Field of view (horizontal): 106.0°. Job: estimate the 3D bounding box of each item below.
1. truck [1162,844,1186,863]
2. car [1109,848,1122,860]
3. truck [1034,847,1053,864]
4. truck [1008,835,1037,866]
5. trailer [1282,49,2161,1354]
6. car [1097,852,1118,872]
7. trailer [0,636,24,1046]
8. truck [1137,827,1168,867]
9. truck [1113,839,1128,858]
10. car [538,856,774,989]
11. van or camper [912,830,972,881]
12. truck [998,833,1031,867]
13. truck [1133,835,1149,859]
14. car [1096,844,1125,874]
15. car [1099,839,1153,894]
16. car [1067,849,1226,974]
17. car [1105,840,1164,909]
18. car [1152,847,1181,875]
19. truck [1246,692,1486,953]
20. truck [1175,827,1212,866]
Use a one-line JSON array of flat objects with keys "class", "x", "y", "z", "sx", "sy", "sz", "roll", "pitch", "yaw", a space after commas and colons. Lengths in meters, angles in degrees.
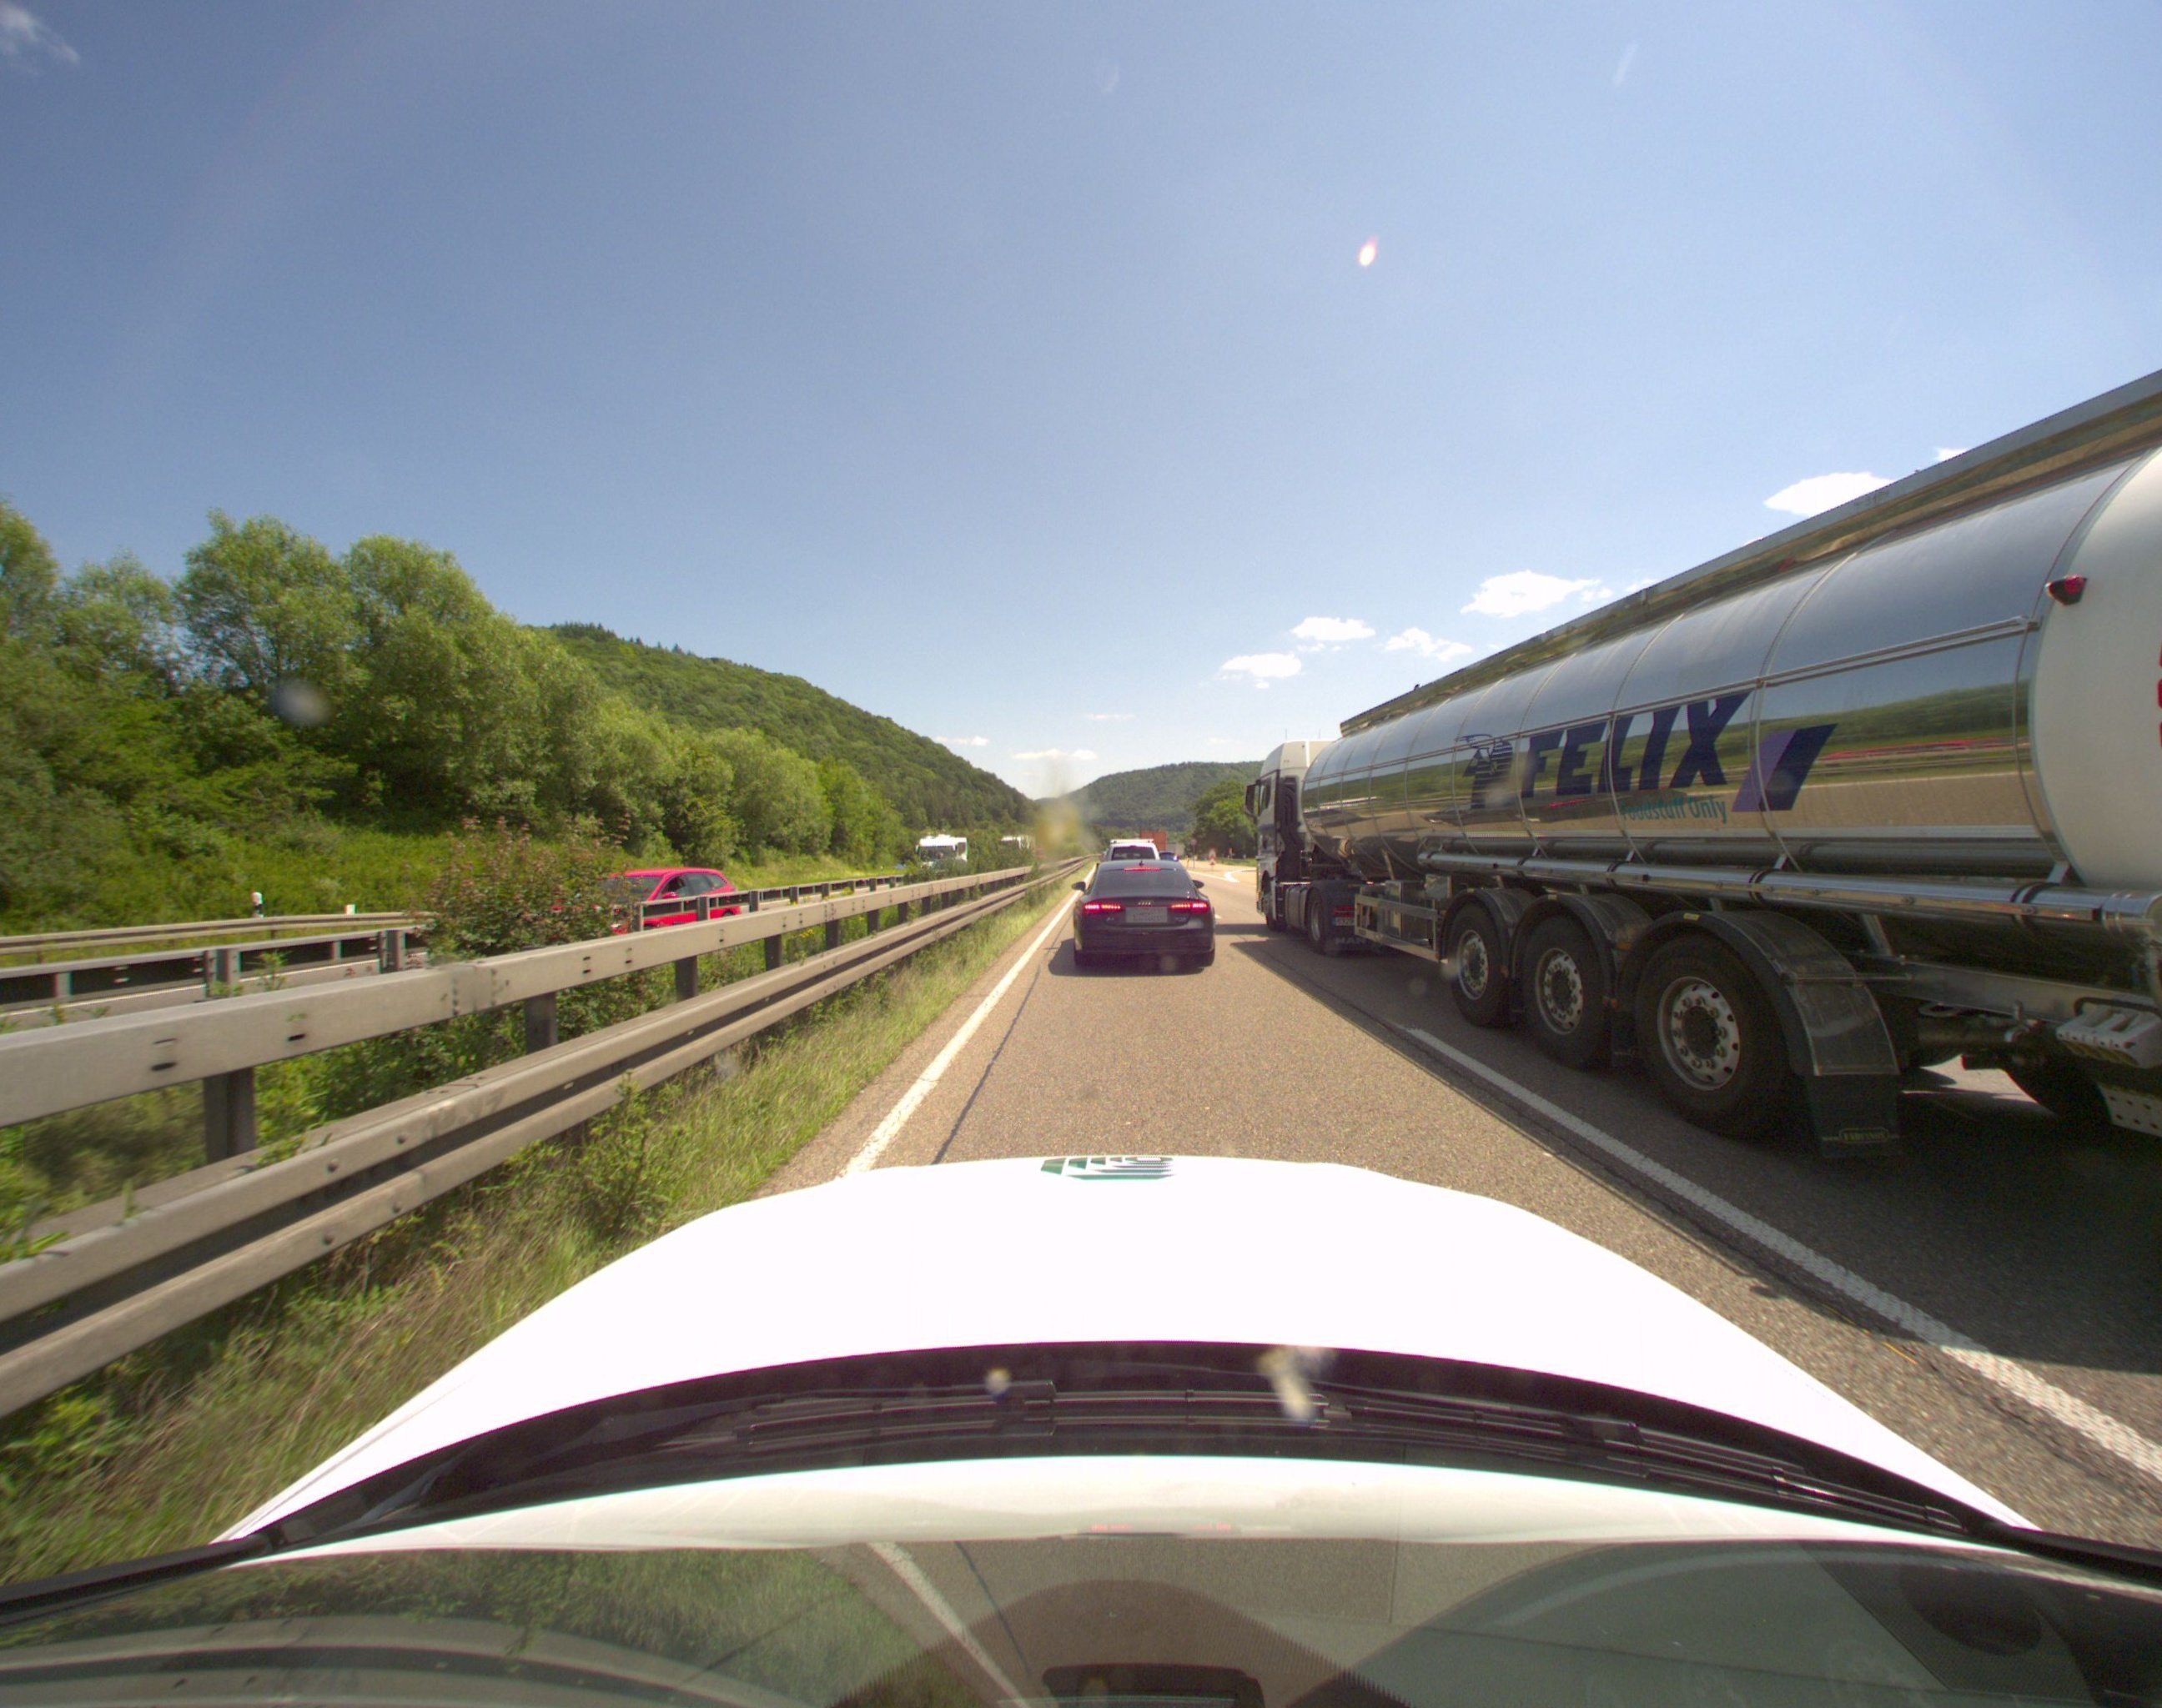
[{"class": "truck", "x": 22.971, "y": -0.243, "z": 201.115, "sx": 3.766, "sy": 4.414, "sz": 15.013, "roll": -2, "pitch": 0, "yaw": 14}, {"class": "car", "x": 4.944, "y": -0.072, "z": 115.486, "sx": 1.705, "sy": 1.618, "sz": 4.003, "roll": -2, "pitch": 0, "yaw": 3}, {"class": "truck", "x": -6.162, "y": 0.278, "z": 133.467, "sx": 2.286, "sy": 2.588, "sz": 7.973, "roll": -2, "pitch": 0, "yaw": 3}, {"class": "truck", "x": -7.841, "y": -0.519, "z": 110.322, "sx": 2.858, "sy": 3.980, "sz": 9.035, "roll": -1, "pitch": 0, "yaw": 2}, {"class": "trailer", "x": 4.498, "y": -0.449, "z": 7.653, "sx": 2.529, "sy": 3.735, "sz": 11.895, "roll": -1, "pitch": 0, "yaw": 1}, {"class": "car", "x": 2.381, "y": 0.674, "z": 71.608, "sx": 1.705, "sy": 1.618, "sz": 4.003, "roll": -2, "pitch": 0, "yaw": 3}, {"class": "trailer", "x": -12.199, "y": -0.099, "z": 1.057, "sx": 2.771, "sy": 3.999, "sz": 14.167, "roll": -1, "pitch": 0, "yaw": 2}, {"class": "truck", "x": 7.863, "y": -0.714, "z": 90.877, "sx": 2.806, "sy": 4.003, "sz": 14.966, "roll": -1, "pitch": 0, "yaw": 3}, {"class": "truck", "x": 7.361, "y": -0.982, "z": 152.522, "sx": 2.618, "sy": 3.440, "sz": 11.427, "roll": -2, "pitch": 0, "yaw": 3}, {"class": "car", "x": -7.409, "y": 1.075, "z": 14.808, "sx": 1.987, "sy": 2.013, "sz": 4.333, "roll": -1, "pitch": 0, "yaw": 0}, {"class": "van or camper", "x": -9.858, "y": 0.086, "z": 58.683, "sx": 2.580, "sy": 3.335, "sz": 7.653, "roll": -2, "pitch": 0, "yaw": 2}, {"class": "truck", "x": -8.111, "y": -0.447, "z": 100.699, "sx": 2.858, "sy": 4.006, "sz": 10.174, "roll": -1, "pitch": 0, "yaw": 2}, {"class": "truck", "x": 8.879, "y": -0.997, "z": 121.188, "sx": 1.986, "sy": 3.447, "sz": 11.817, "roll": -1, "pitch": 0, "yaw": 2}, {"class": "car", "x": 2.164, "y": 0.358, "z": 59.251, "sx": 1.986, "sy": 2.013, "sz": 4.001, "roll": -2, "pitch": 0, "yaw": 1}, {"class": "car", "x": 1.743, "y": 0.455, "z": 32.435, "sx": 1.986, "sy": 2.013, "sz": 4.002, "roll": -1, "pitch": 0, "yaw": 2}, {"class": "car", "x": 0.770, "y": 0.694, "z": 11.981, "sx": 1.845, "sy": 1.488, "sz": 4.079, "roll": -1, "pitch": 0, "yaw": -2}, {"class": "car", "x": 1.501, "y": 0.551, "z": 23.851, "sx": 1.570, "sy": 1.833, "sz": 4.002, "roll": -1, "pitch": 0, "yaw": 2}, {"class": "car", "x": 6.558, "y": 0.530, "z": 62.536, "sx": 1.985, "sy": 2.002, "sz": 4.003, "roll": -2, "pitch": 0, "yaw": 3}, {"class": "truck", "x": 4.667, "y": -0.459, "z": 14.463, "sx": 2.502, "sy": 3.758, "sz": 5.247, "roll": -1, "pitch": 0, "yaw": 1}, {"class": "truck", "x": 12.463, "y": -0.780, "z": 91.355, "sx": 2.806, "sy": 4.003, "sz": 14.966, "roll": -1, "pitch": 0, "yaw": 3}]
